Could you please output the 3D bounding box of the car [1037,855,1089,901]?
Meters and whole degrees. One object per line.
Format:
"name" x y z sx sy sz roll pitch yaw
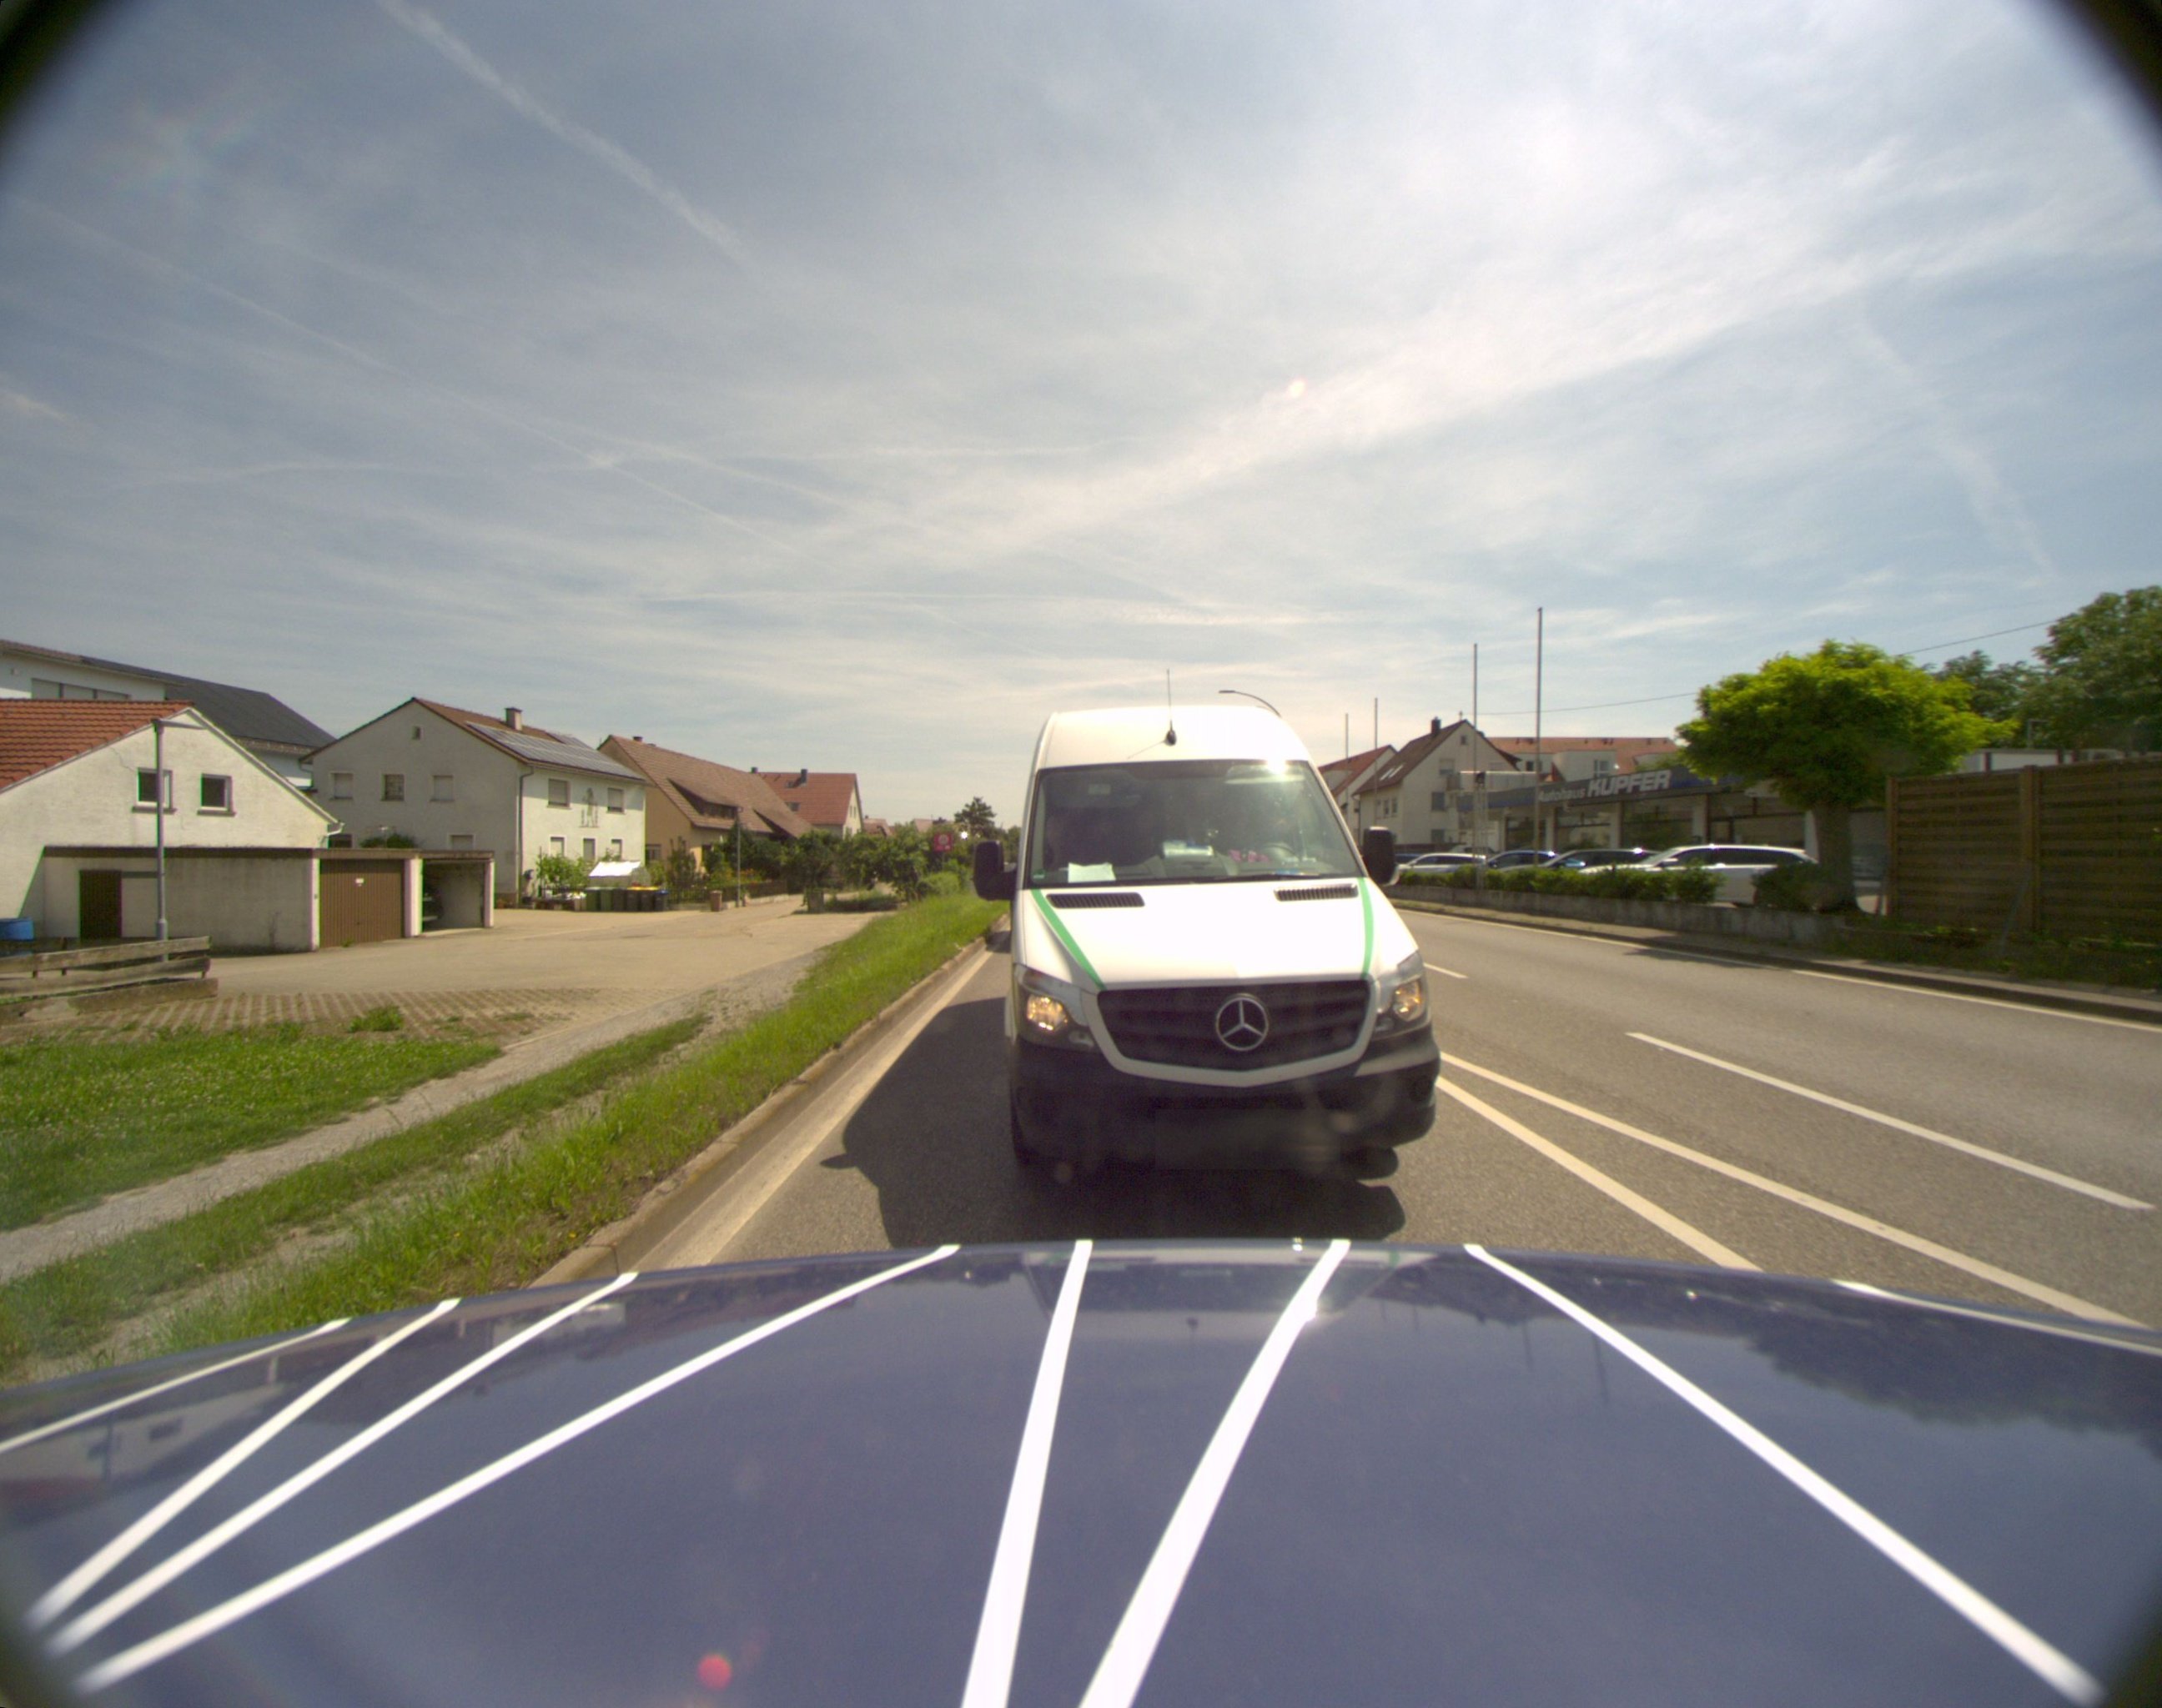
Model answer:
"car" -0.673 0.868 29.247 1.824 1.637 3.901 -1 0 -1

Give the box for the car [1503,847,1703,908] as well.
"car" 14.224 0.641 21.024 4.251 1.536 1.853 -2 0 23

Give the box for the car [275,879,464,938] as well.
"car" -21.549 1.628 23.132 3.997 1.594 1.826 -1 0 0

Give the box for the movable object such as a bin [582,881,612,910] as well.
"movable object such as a bin" -22.128 1.903 34.752 0.745 1.239 0.889 -2 0 -1

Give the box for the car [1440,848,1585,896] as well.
"car" 14.025 0.594 24.985 3.990 1.433 1.857 -2 0 25

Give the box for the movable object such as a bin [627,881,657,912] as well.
"movable object such as a bin" -19.866 1.910 34.426 0.765 1.362 0.946 -2 0 -1

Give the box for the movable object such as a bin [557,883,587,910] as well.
"movable object such as a bin" -23.056 1.933 34.436 0.740 1.149 0.830 -2 0 -1

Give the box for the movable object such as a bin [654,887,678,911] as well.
"movable object such as a bin" -18.859 2.044 34.519 0.645 1.021 0.756 -2 0 -1

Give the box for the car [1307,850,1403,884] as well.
"car" 13.566 0.648 37.660 4.255 1.521 2.003 -2 0 26

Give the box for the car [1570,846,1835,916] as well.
"car" 13.864 0.598 17.313 4.329 1.451 1.858 -1 0 24

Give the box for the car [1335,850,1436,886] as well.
"car" 13.516 0.632 33.729 3.990 1.455 2.003 -2 0 26

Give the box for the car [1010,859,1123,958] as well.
"car" -0.269 0.901 14.326 1.824 1.574 3.901 -1 0 -1

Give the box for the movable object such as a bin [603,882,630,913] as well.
"movable object such as a bin" -21.206 1.991 34.723 0.678 1.330 0.820 -2 0 -1

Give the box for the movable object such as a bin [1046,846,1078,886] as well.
"movable object such as a bin" -1.290 0.823 54.889 1.998 2.710 5.419 -1 0 1

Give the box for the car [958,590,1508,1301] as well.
"car" 0.536 0.350 5.645 1.978 2.583 5.633 -2 0 -1

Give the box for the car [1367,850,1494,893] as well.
"car" 13.484 0.694 29.398 4.303 1.510 2.003 -2 0 27

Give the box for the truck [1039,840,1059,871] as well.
"truck" -4.159 0.190 99.382 2.506 3.847 5.497 -2 0 -1
